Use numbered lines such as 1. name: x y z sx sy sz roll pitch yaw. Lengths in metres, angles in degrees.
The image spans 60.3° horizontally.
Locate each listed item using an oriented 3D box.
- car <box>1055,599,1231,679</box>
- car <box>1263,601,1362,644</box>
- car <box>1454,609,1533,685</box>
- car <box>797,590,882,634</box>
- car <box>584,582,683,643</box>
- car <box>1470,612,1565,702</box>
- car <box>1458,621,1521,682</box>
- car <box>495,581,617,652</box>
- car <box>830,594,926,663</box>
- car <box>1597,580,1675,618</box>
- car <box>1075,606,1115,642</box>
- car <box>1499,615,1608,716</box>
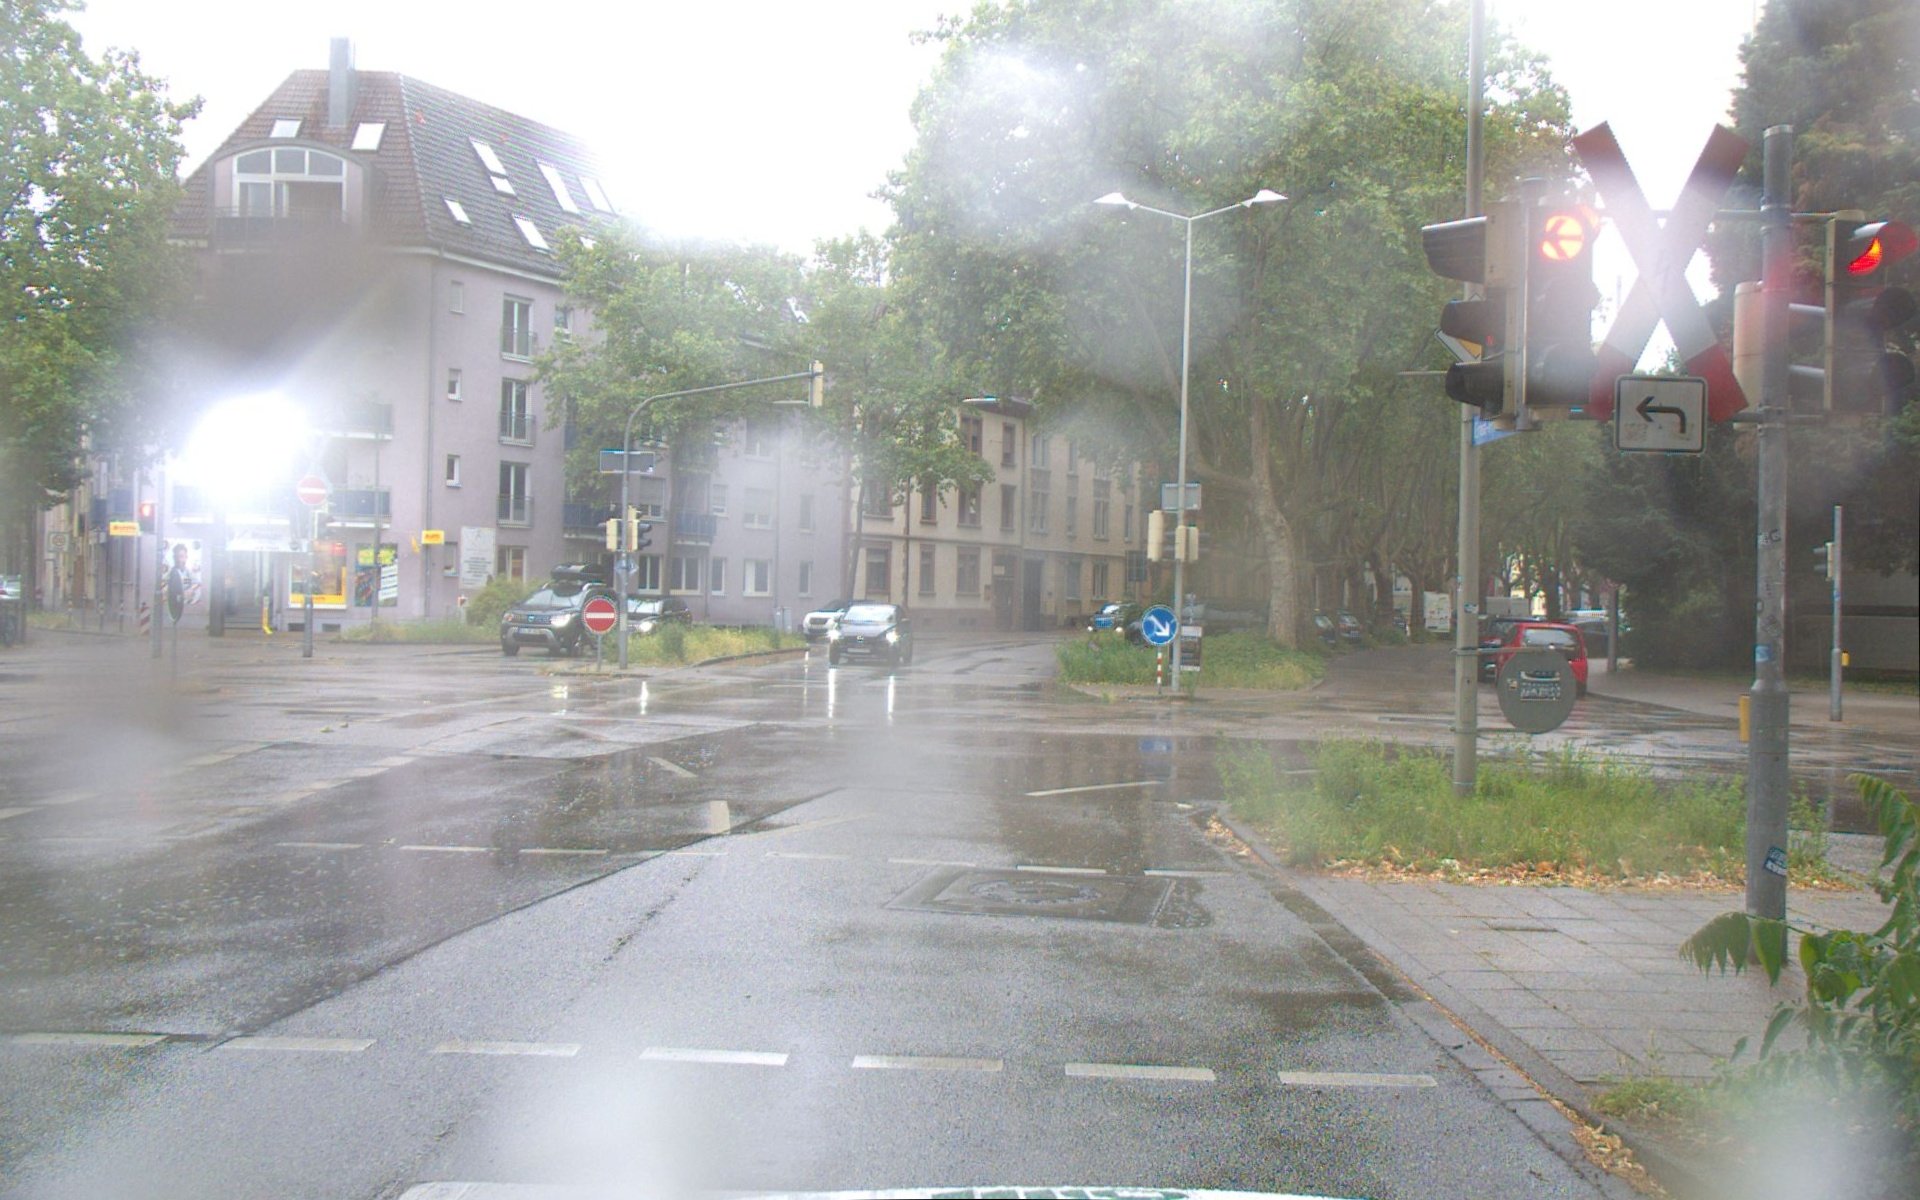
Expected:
1. car: 3.658 0.766 33.024 3.405 1.550 1.521 0 0 8
2. car: 14.010 0.882 65.764 3.537 1.646 1.679 0 0 28
3. car: 15.424 1.321 47.972 1.951 2.049 4.003 0 0 15
4. car: -4.476 0.420 61.985 1.642 1.579 4.200 0 0 20
5. car: -8.780 0.309 44.761 1.688 1.579 3.562 -1 0 5
6. car: 13.729 1.356 40.917 1.951 2.049 4.003 0 0 15
7. car: 19.153 1.815 59.942 1.951 2.049 4.003 0 0 15
8. car: -9.365 0.352 38.628 1.688 1.579 3.562 -1 0 5
9. car: -1.956 0.665 40.440 1.568 1.579 3.563 0 0 10
10. car: 37.780 -0.047 92.525 3.903 2.049 1.708 0 0 19
11. car: 6.328 1.101 77.115 1.568 1.579 3.563 0 0 9
12. car: 13.076 1.389 36.648 1.951 2.049 4.003 0 0 15
